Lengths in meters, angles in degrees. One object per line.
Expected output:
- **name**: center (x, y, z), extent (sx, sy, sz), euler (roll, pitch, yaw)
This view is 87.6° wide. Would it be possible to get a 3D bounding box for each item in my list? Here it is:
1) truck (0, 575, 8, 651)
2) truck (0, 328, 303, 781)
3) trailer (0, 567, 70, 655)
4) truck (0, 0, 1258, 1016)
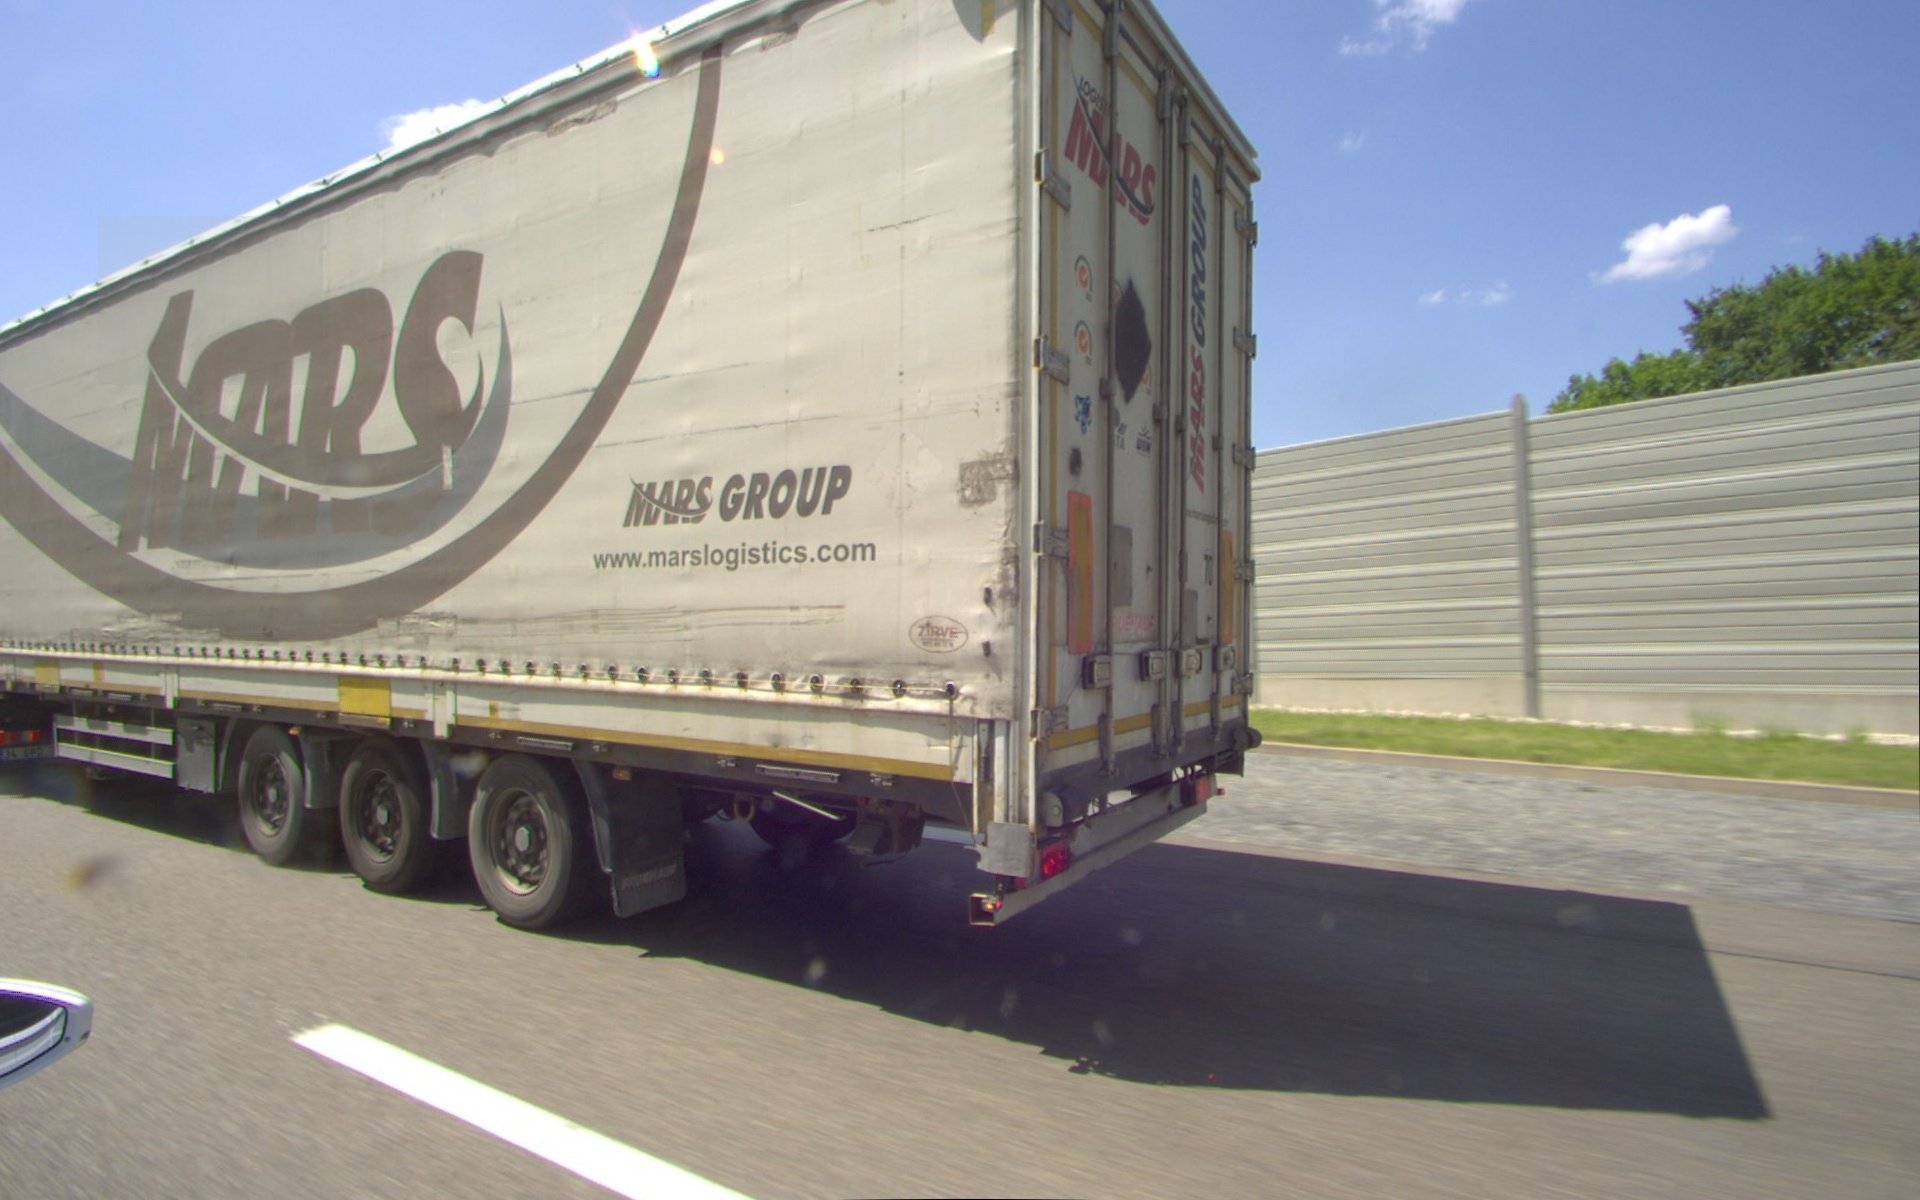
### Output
- **truck**: center (-52.843, 0.665, 52.267), extent (5.311, 3.950, 3.406), euler (-1, -2, 33)
- **truck**: center (-10.516, -0.296, 11.616), extent (5.673, 4.119, 2.715), euler (-2, -2, 32)
- **trailer**: center (-47.647, 0.596, 48.899), extent (10.993, 3.950, 3.405), euler (-1, -2, 33)
- **truck**: center (-4.808, -0.503, 7.984), extent (13.546, 4.119, 2.722), euler (-2, -3, 32)
